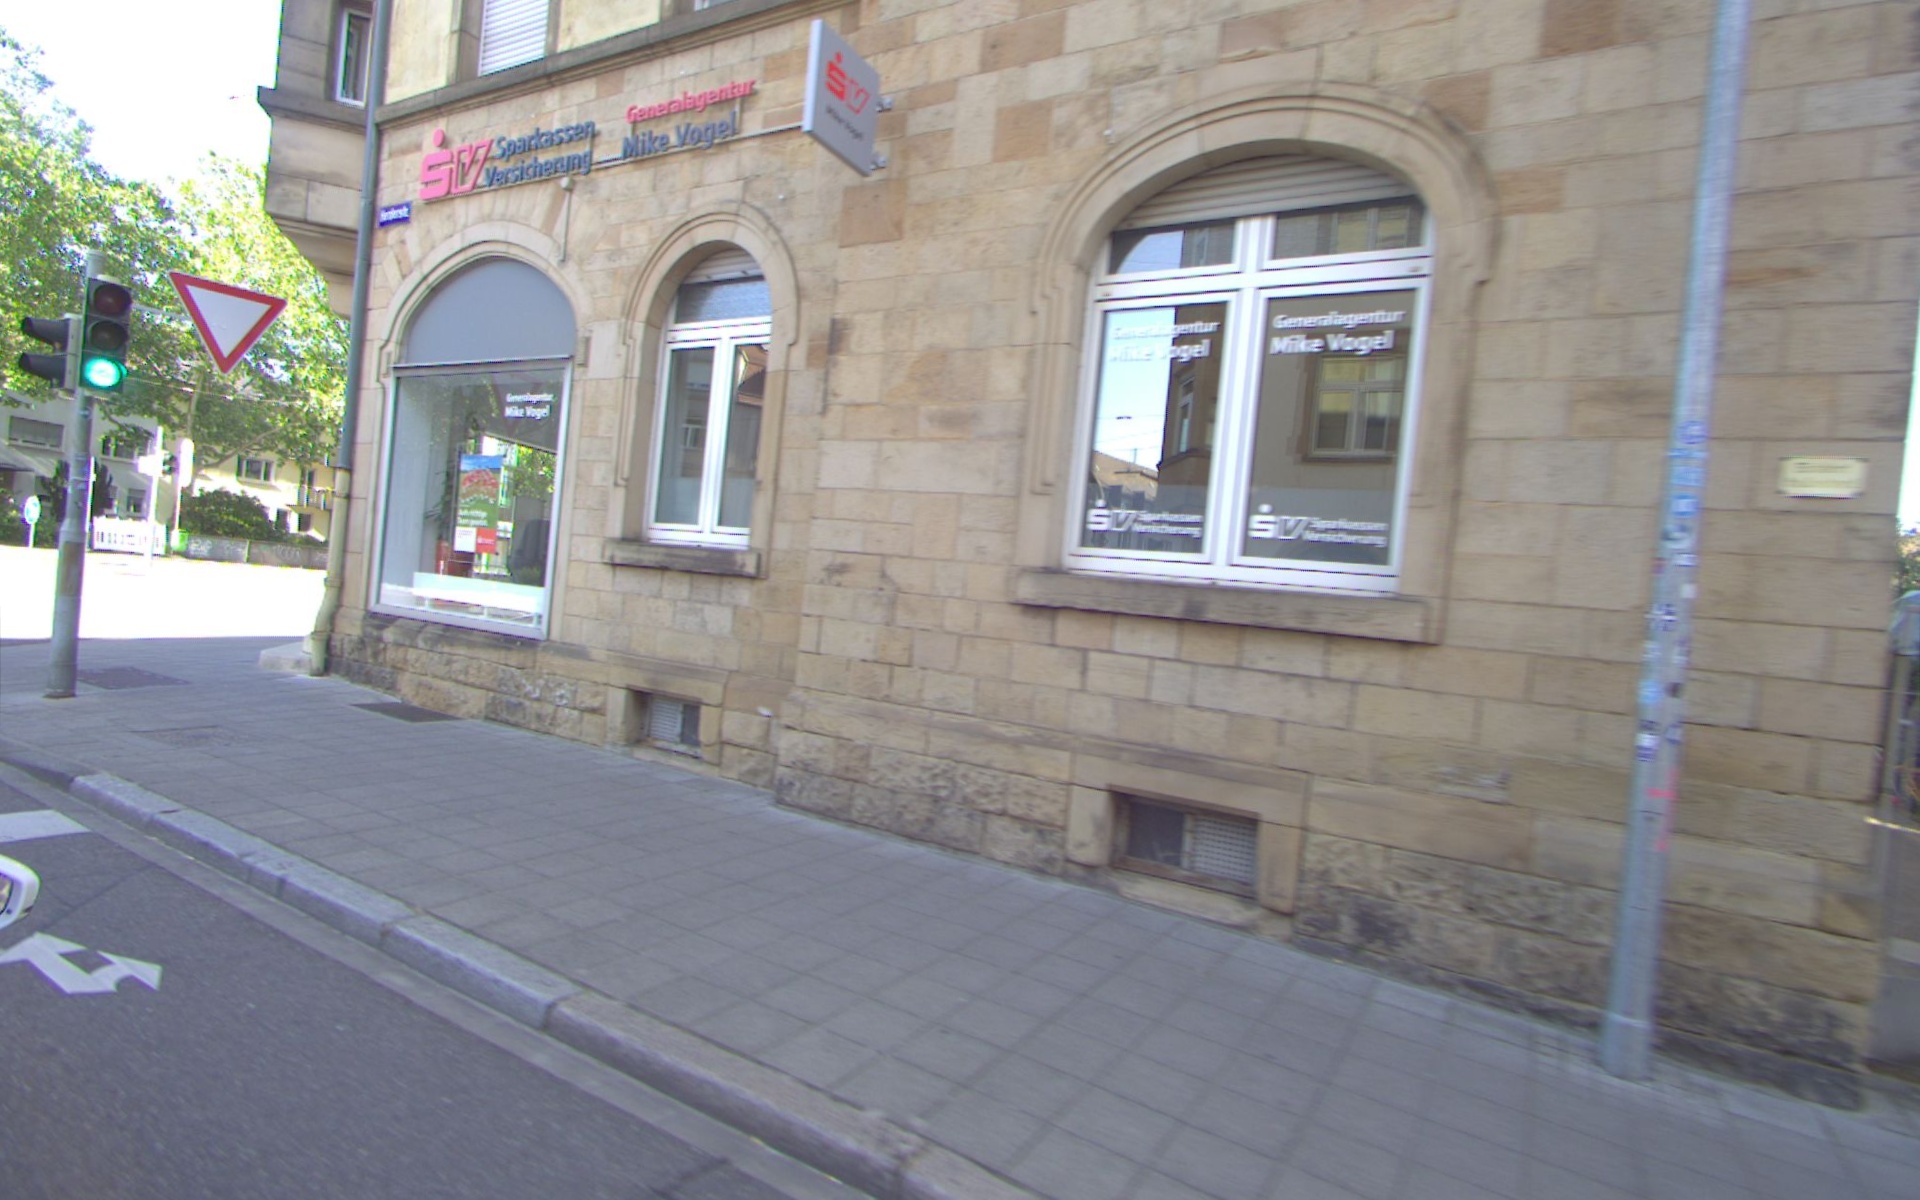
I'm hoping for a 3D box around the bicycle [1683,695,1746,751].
[{"bbox_3d":[16.417,2.649,21.938,0.642,1.022,1.985,4,-1,25],"label":"bicycle"}]
